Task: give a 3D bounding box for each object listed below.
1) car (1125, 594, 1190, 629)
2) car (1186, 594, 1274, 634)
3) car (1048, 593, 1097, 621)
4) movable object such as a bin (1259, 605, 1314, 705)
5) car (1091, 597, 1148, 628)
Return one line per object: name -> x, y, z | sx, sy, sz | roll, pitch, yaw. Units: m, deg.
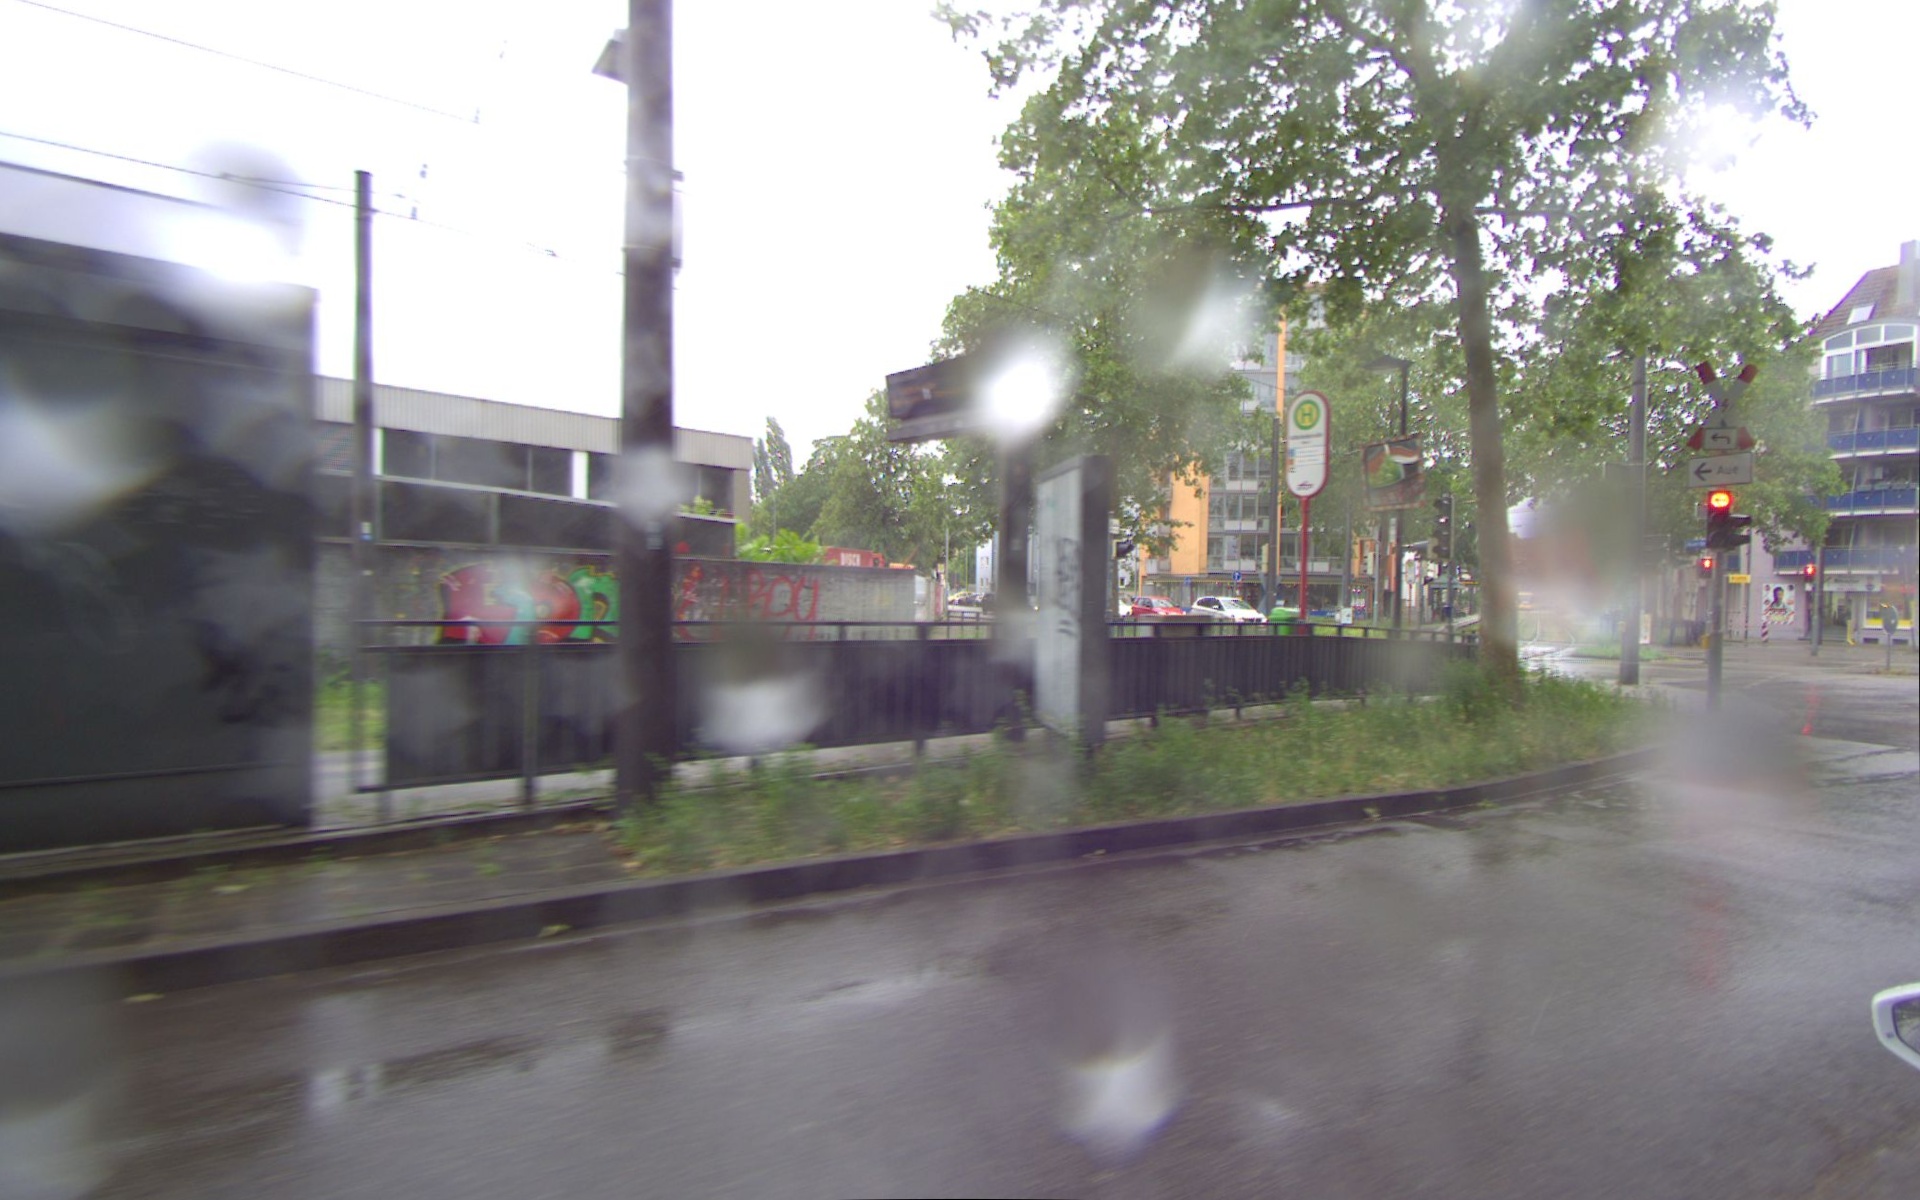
car -> 9.883, 0.587, 50.540 | 1.697, 1.661, 3.780 | 0, -1, -17
car -> 11.816, 0.624, 44.238 | 1.941, 1.673, 4.005 | 0, -1, -17
car -> 6.978, 0.464, 62.454 | 1.697, 1.661, 3.780 | 0, -1, -17
movable object such as a bin -> 3.741, 0.615, 11.508 | 0.412, 1.104, 0.528 | 0, -1, 44
car -> 8.893, 0.678, 56.189 | 1.697, 1.661, 3.780 | 0, -1, -17
